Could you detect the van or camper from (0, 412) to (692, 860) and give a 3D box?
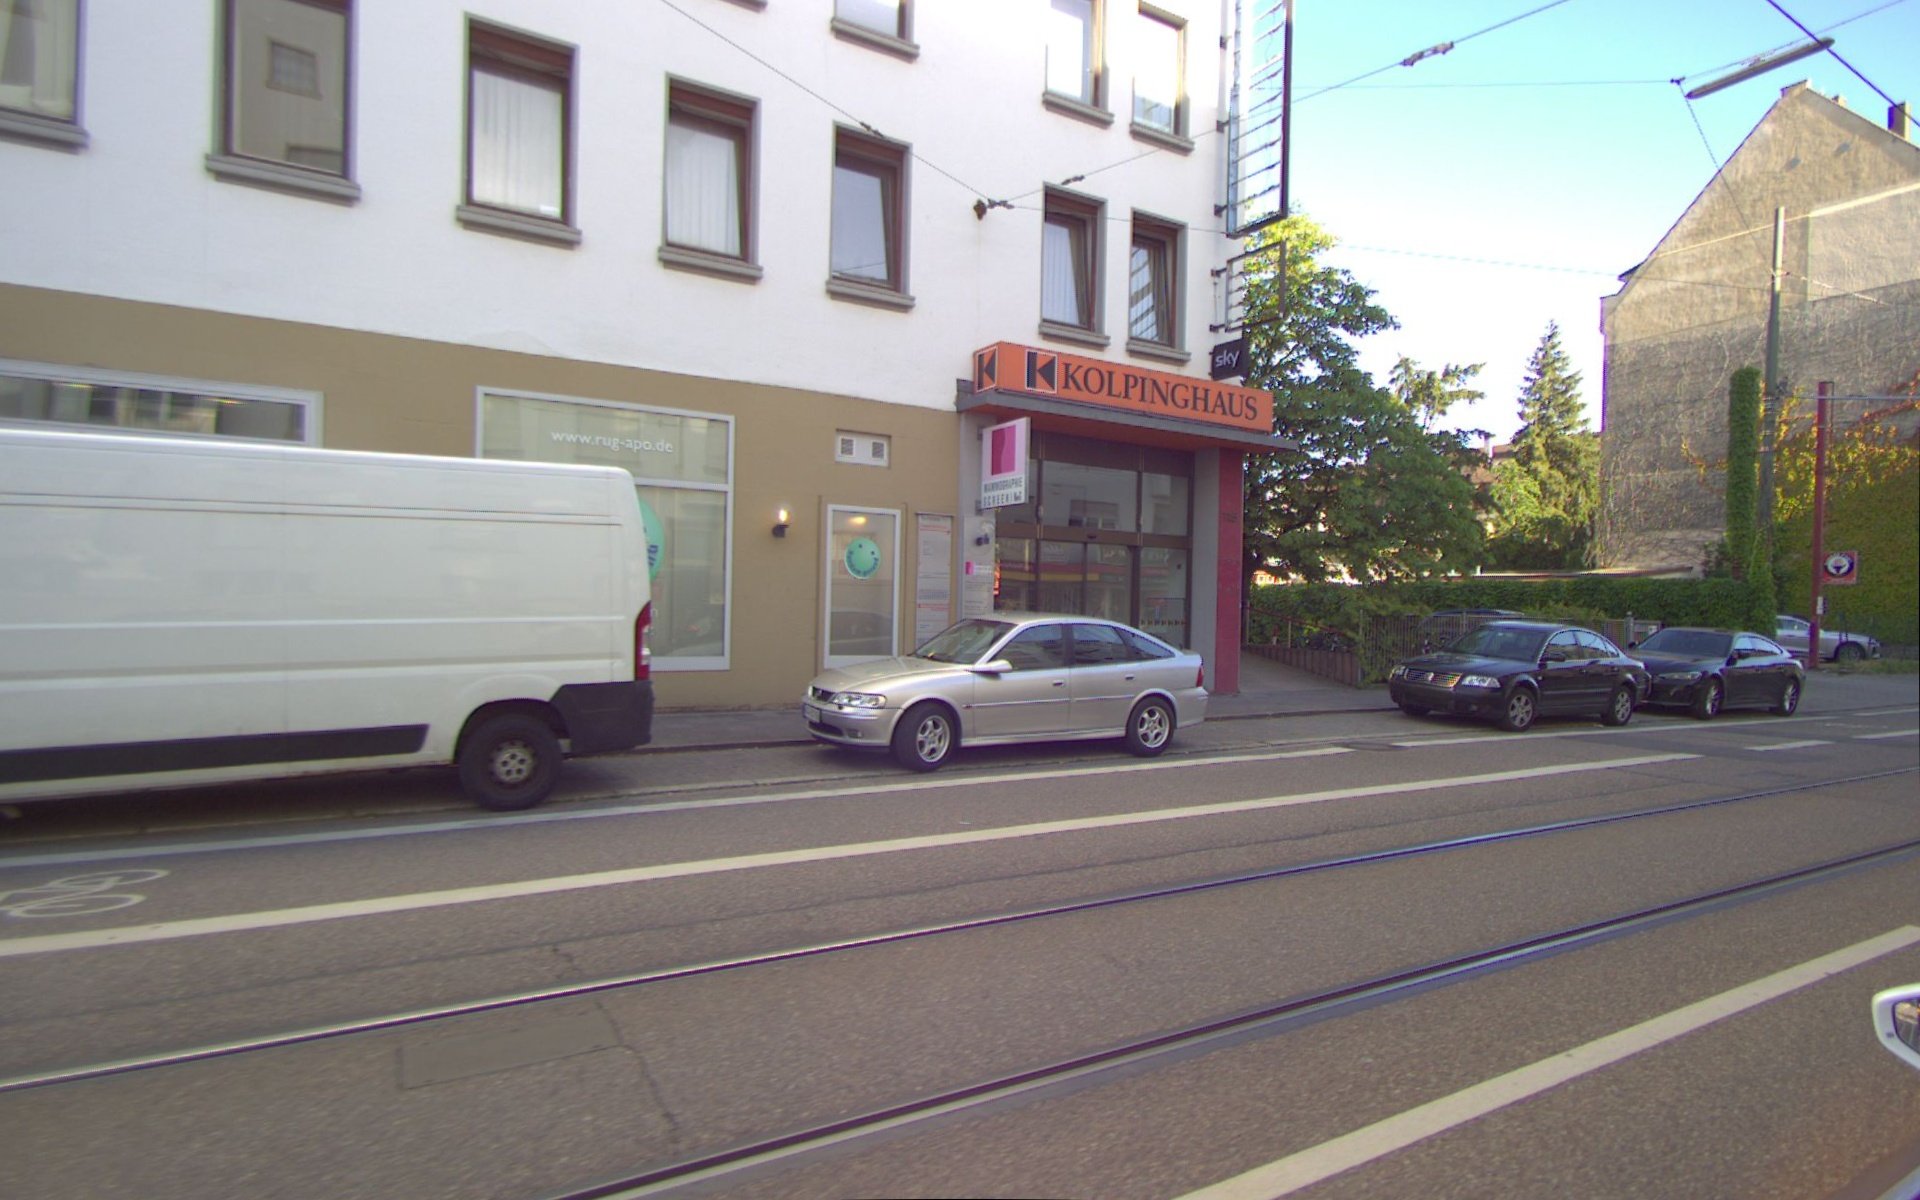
[{"bbox_3d":[-5.237,0.186,6.928,6.161,2.500,2.160,2,2,-31],"label":"van or camper"}]

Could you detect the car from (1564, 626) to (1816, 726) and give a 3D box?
[{"bbox_3d":[12.930,1.274,17.710,4.784,1.465,1.774,2,1,-30],"label":"car"}]

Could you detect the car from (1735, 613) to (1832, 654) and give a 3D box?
[{"bbox_3d":[33.023,1.333,40.256,3.863,1.546,1.744,2,0,-30],"label":"car"}]

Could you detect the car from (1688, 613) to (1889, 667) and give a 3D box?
[{"bbox_3d":[27.062,1.272,33.049,4.708,1.538,1.997,2,0,27],"label":"car"}]

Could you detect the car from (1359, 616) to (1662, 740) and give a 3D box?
[{"bbox_3d":[8.173,1.071,14.807,4.646,1.501,1.774,2,1,-31],"label":"car"}]

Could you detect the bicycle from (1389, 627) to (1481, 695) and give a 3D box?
[{"bbox_3d":[8.821,1.123,18.622,2.026,1.190,0.437,2,0,-30],"label":"bicycle"}]

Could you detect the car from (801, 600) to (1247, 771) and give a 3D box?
[{"bbox_3d":[0.734,0.796,10.540,4.391,1.417,1.775,2,1,-29],"label":"car"}]
